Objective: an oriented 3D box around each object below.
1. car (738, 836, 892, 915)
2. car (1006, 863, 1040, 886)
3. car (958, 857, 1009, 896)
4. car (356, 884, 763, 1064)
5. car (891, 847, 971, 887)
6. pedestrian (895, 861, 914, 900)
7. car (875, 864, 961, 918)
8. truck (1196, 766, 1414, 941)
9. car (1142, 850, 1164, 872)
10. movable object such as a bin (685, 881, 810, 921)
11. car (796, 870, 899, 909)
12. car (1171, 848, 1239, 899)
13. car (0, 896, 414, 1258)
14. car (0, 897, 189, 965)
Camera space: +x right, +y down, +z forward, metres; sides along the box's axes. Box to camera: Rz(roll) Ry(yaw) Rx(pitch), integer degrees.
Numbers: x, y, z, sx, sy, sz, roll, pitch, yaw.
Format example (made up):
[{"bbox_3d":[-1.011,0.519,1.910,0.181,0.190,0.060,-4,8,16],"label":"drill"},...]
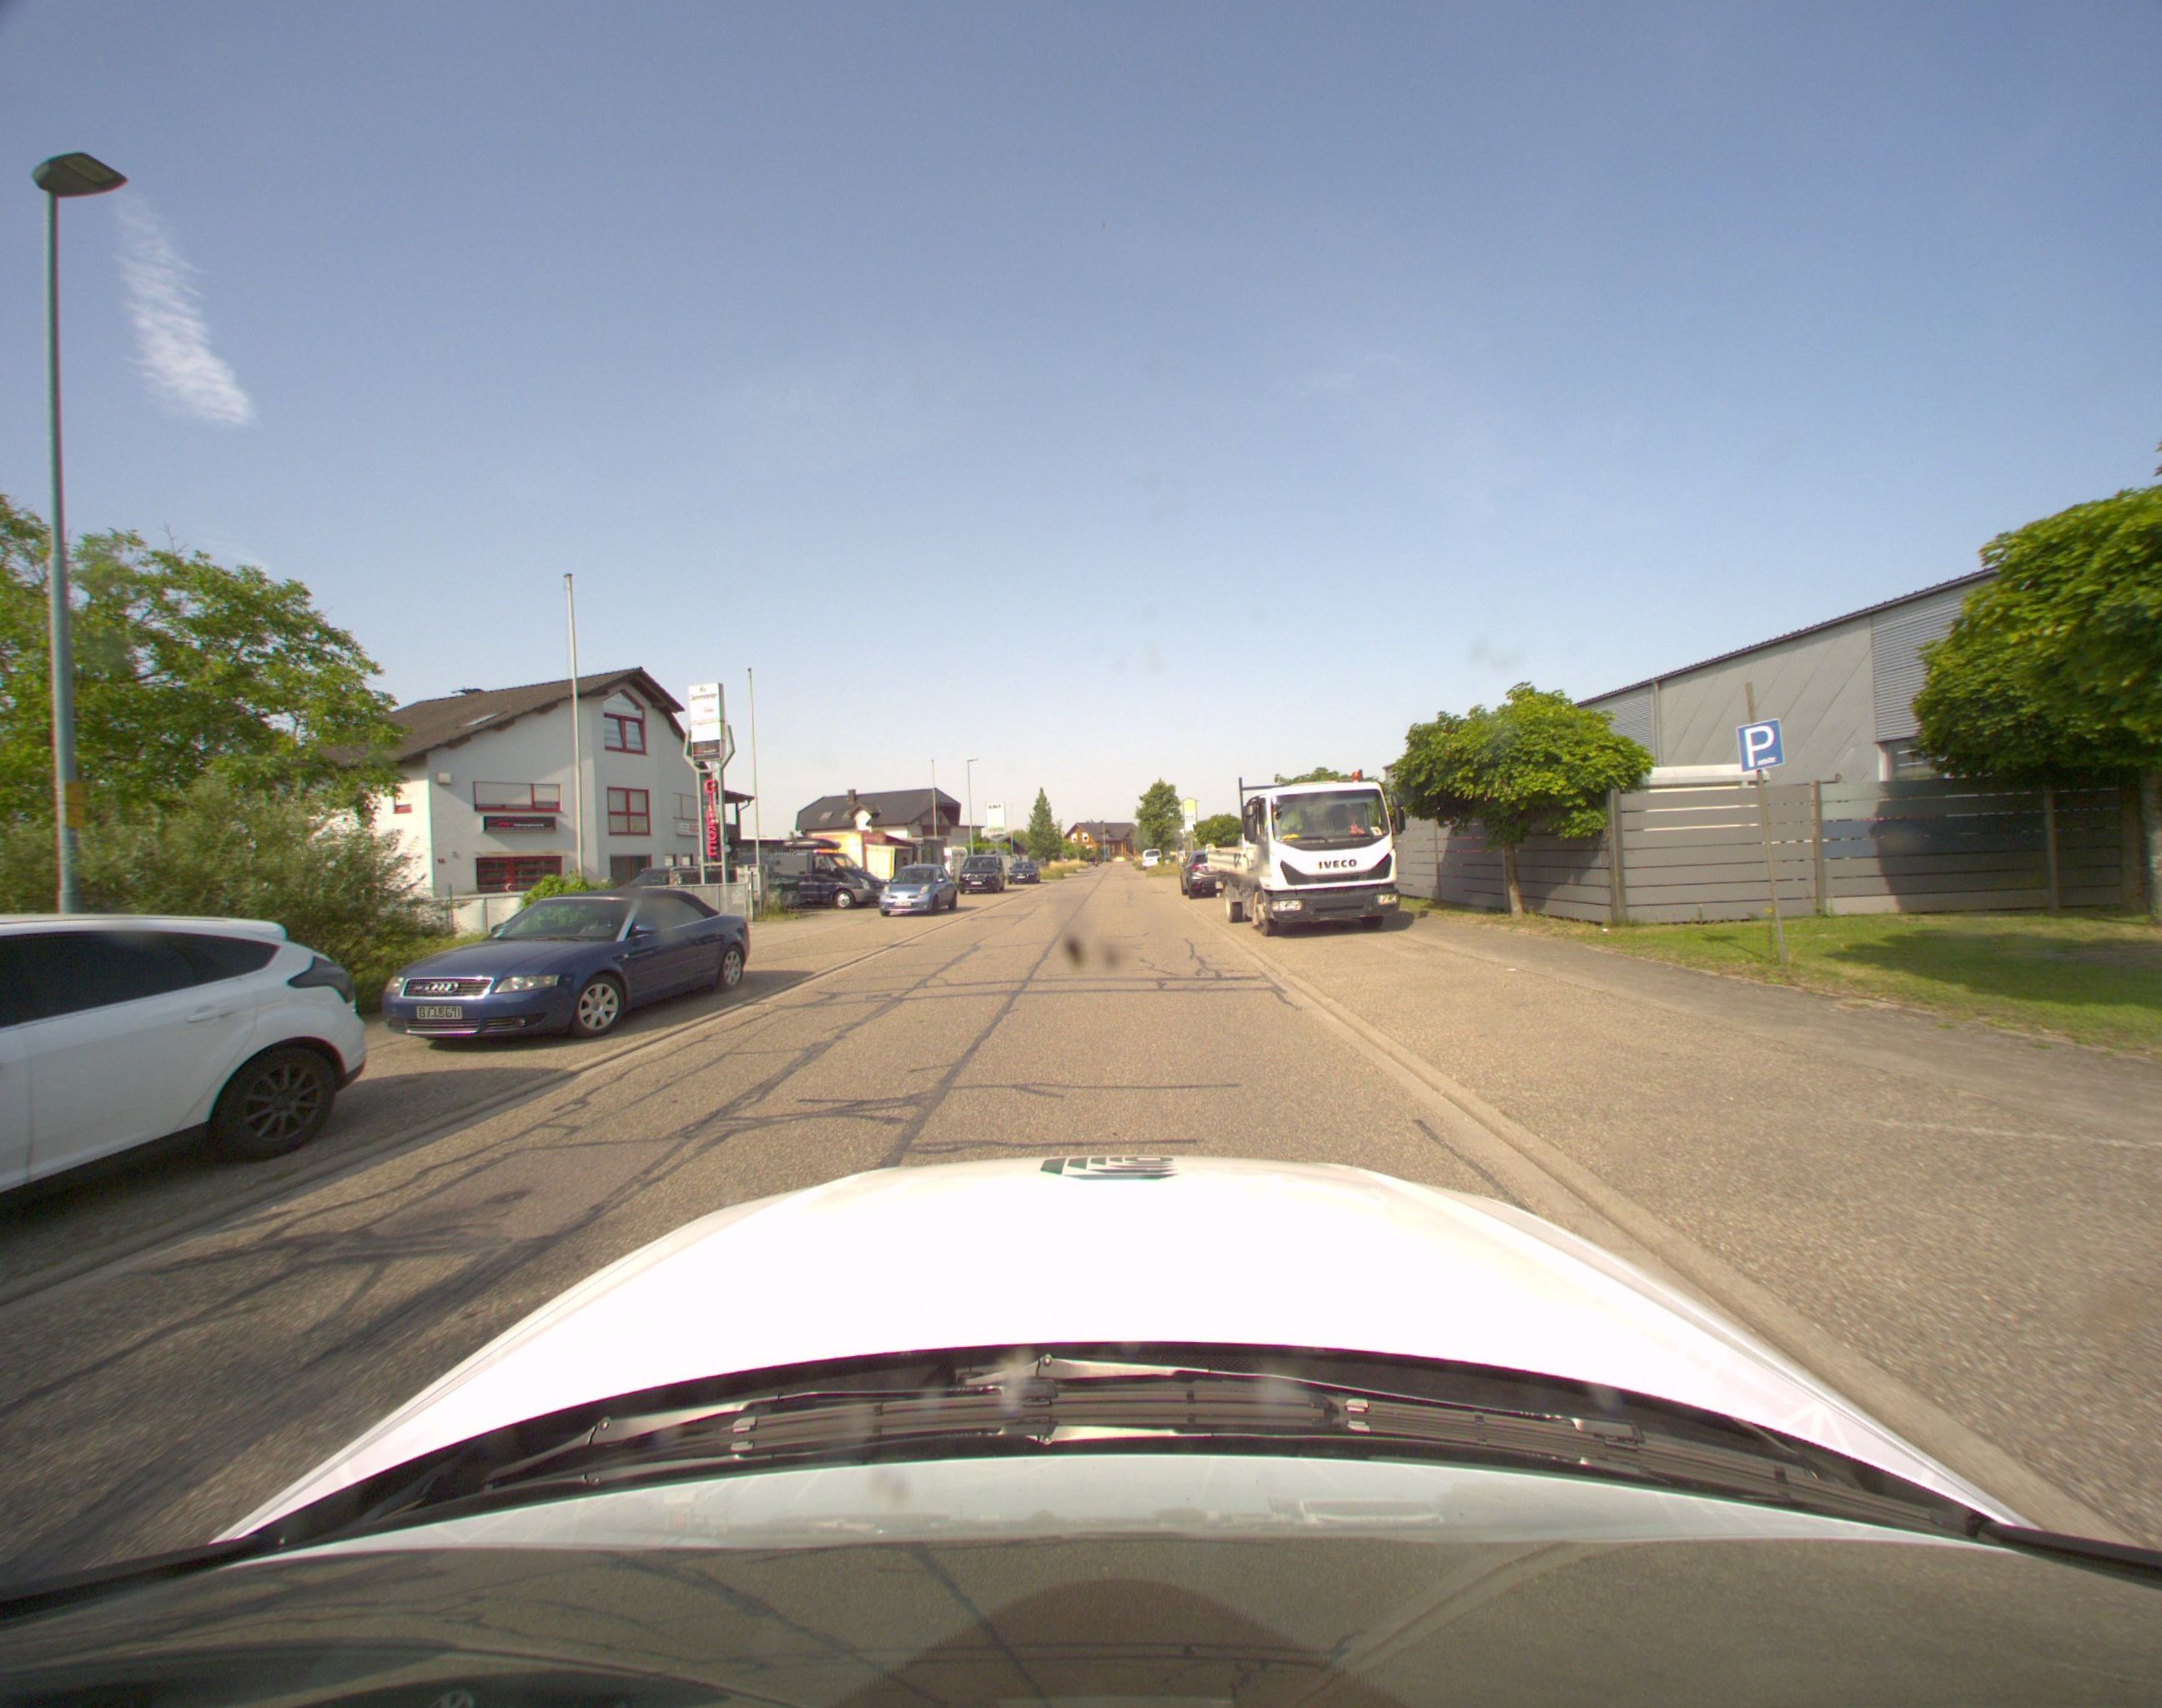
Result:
[{"bbox_3d":[-9.298,0.735,28.682,4.605,2.416,2.003,-3,0,4],"label":"car"},{"bbox_3d":[-3.691,1.271,52.152,1.793,1.387,3.639,-1,0,2],"label":"car"},{"bbox_3d":[-4.661,1.039,39.390,1.793,1.774,4.204,-1,0,2],"label":"car"},{"bbox_3d":[-5.349,1.118,9.200,1.627,1.387,4.372,-1,-1,2],"label":"car"},{"bbox_3d":[-11.113,0.976,60.541,5.111,2.586,2.591,-4,-1,23],"label":"car"},{"bbox_3d":[-7.898,1.178,36.458,0.566,1.715,0.528,-3,-1,-35],"label":"pedestrian"},{"bbox_3d":[-4.993,1.096,25.373,1.625,1.517,3.610,-1,-1,5],"label":"car"},{"bbox_3d":[4.051,0.009,16.311,2.352,2.681,6.507,-3,0,-1],"label":"truck"},{"bbox_3d":[6.863,0.664,78.101,1.830,1.924,3.759,-4,-1,3],"label":"car"},{"bbox_3d":[-10.764,1.501,26.385,3.301,1.147,1.767,-1,0,11],"label":"movable object such as a bin"},{"bbox_3d":[-9.236,1.388,32.472,3.577,1.414,1.761,-1,-1,-1],"label":"car"},{"bbox_3d":[4.210,0.637,28.209,1.788,1.560,4.001,-3,0,2],"label":"car"},{"bbox_3d":[-5.506,1.021,3.464,1.677,1.469,4.256,-1,-1,3],"label":"car"},{"bbox_3d":[-34.434,2.617,27.663,5.308,1.915,1.822,-3,-1,-40],"label":"car"}]
